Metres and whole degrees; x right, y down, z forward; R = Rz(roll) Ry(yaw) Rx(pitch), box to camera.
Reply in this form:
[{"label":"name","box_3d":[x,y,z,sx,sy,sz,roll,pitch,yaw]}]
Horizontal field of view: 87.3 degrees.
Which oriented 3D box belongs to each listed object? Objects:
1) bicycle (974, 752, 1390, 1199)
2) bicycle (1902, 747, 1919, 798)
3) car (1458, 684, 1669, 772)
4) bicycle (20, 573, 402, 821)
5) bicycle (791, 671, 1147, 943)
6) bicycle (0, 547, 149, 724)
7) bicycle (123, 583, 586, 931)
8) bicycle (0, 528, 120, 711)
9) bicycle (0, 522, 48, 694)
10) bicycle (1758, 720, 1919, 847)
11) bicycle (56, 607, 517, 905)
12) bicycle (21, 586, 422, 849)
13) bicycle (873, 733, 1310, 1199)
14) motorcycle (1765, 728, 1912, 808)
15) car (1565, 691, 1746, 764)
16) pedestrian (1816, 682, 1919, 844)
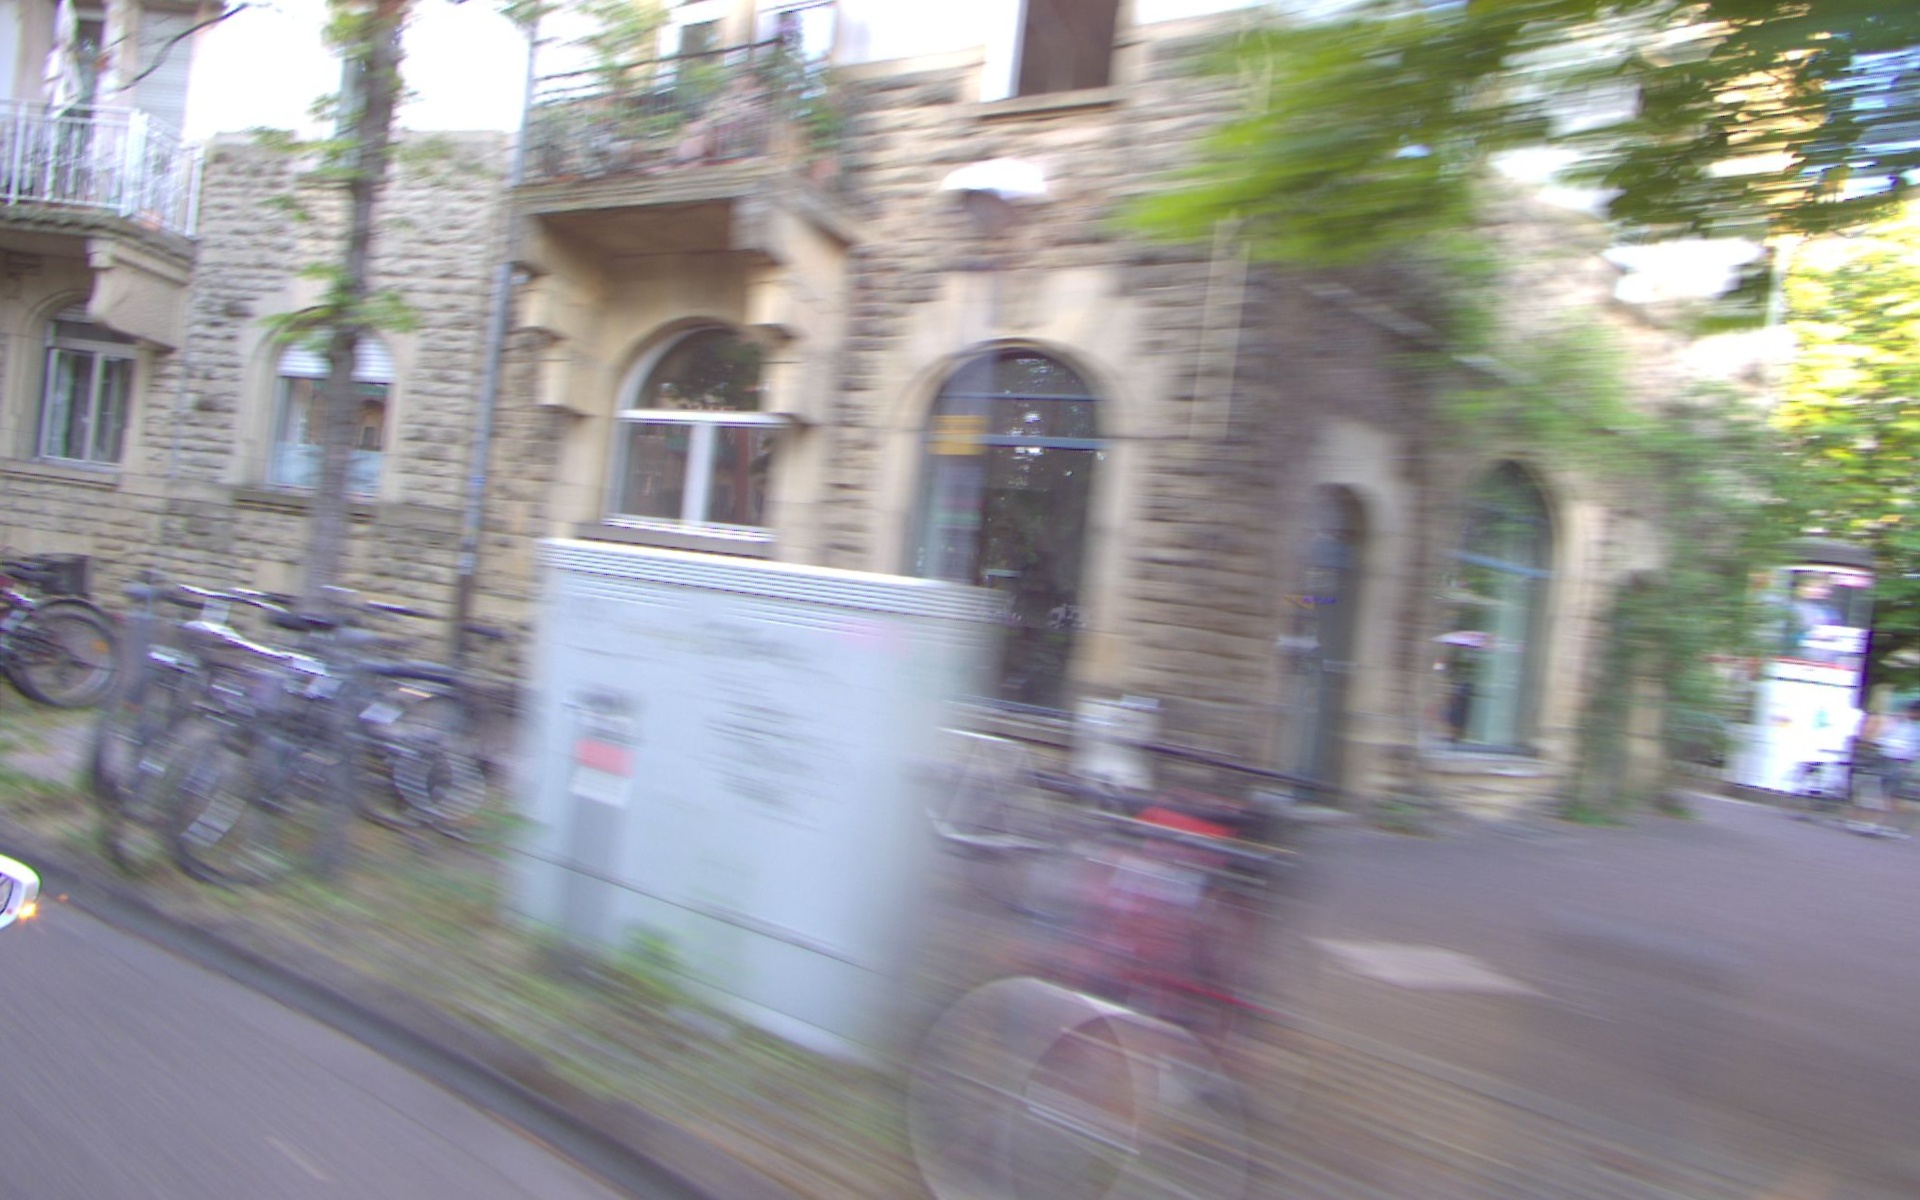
[{"label":"bicycle","box_3d":[0.697,1.005,2.700,0.425,1.052,1.603,7,0,35]},{"label":"bicycle","box_3d":[23.635,4.236,24.544,1.819,1.152,0.585,8,0,-38]},{"label":"car","box_3d":[14.398,3.034,24.197,1.809,1.501,3.873,7,-2,-34]},{"label":"bicycle","box_3d":[-3.878,0.478,5.381,0.411,1.089,1.608,7,0,19]},{"label":"bicycle","box_3d":[0.004,0.961,5.062,1.697,0.981,0.431,7,1,29]},{"label":"bicycle","box_3d":[-6.158,0.206,6.216,0.439,1.076,1.797,7,0,15]},{"label":"bicycle","box_3d":[-2.469,0.591,4.340,0.545,1.162,1.607,7,0,23]},{"label":"bicycle","box_3d":[-6.514,0.105,6.391,0.439,1.182,1.797,7,0,15]},{"label":"bicycle","box_3d":[-7.222,0.011,6.503,0.542,1.215,1.922,7,0,13]},{"label":"bicycle","box_3d":[11.072,2.247,12.594,0.623,1.203,1.914,7,1,5]},{"label":"bicycle","box_3d":[-2.875,0.615,4.509,0.545,1.033,1.607,7,0,23]},{"label":"bicycle","box_3d":[-3.592,0.535,5.082,0.411,1.076,1.608,7,0,19]},{"label":"bicycle","box_3d":[0.552,1.001,3.137,0.425,1.052,1.894,7,0,35]},{"label":"motorcycle","box_3d":[15.702,2.985,18.035,0.573,1.067,1.817,6,0,-32]},{"label":"car","box_3d":[20.187,3.676,29.329,1.810,1.501,3.870,7,-2,-36]},{"label":"pedestrian","box_3d":[11.581,2.010,12.411,0.962,1.811,1.005,7,1,5]}]
